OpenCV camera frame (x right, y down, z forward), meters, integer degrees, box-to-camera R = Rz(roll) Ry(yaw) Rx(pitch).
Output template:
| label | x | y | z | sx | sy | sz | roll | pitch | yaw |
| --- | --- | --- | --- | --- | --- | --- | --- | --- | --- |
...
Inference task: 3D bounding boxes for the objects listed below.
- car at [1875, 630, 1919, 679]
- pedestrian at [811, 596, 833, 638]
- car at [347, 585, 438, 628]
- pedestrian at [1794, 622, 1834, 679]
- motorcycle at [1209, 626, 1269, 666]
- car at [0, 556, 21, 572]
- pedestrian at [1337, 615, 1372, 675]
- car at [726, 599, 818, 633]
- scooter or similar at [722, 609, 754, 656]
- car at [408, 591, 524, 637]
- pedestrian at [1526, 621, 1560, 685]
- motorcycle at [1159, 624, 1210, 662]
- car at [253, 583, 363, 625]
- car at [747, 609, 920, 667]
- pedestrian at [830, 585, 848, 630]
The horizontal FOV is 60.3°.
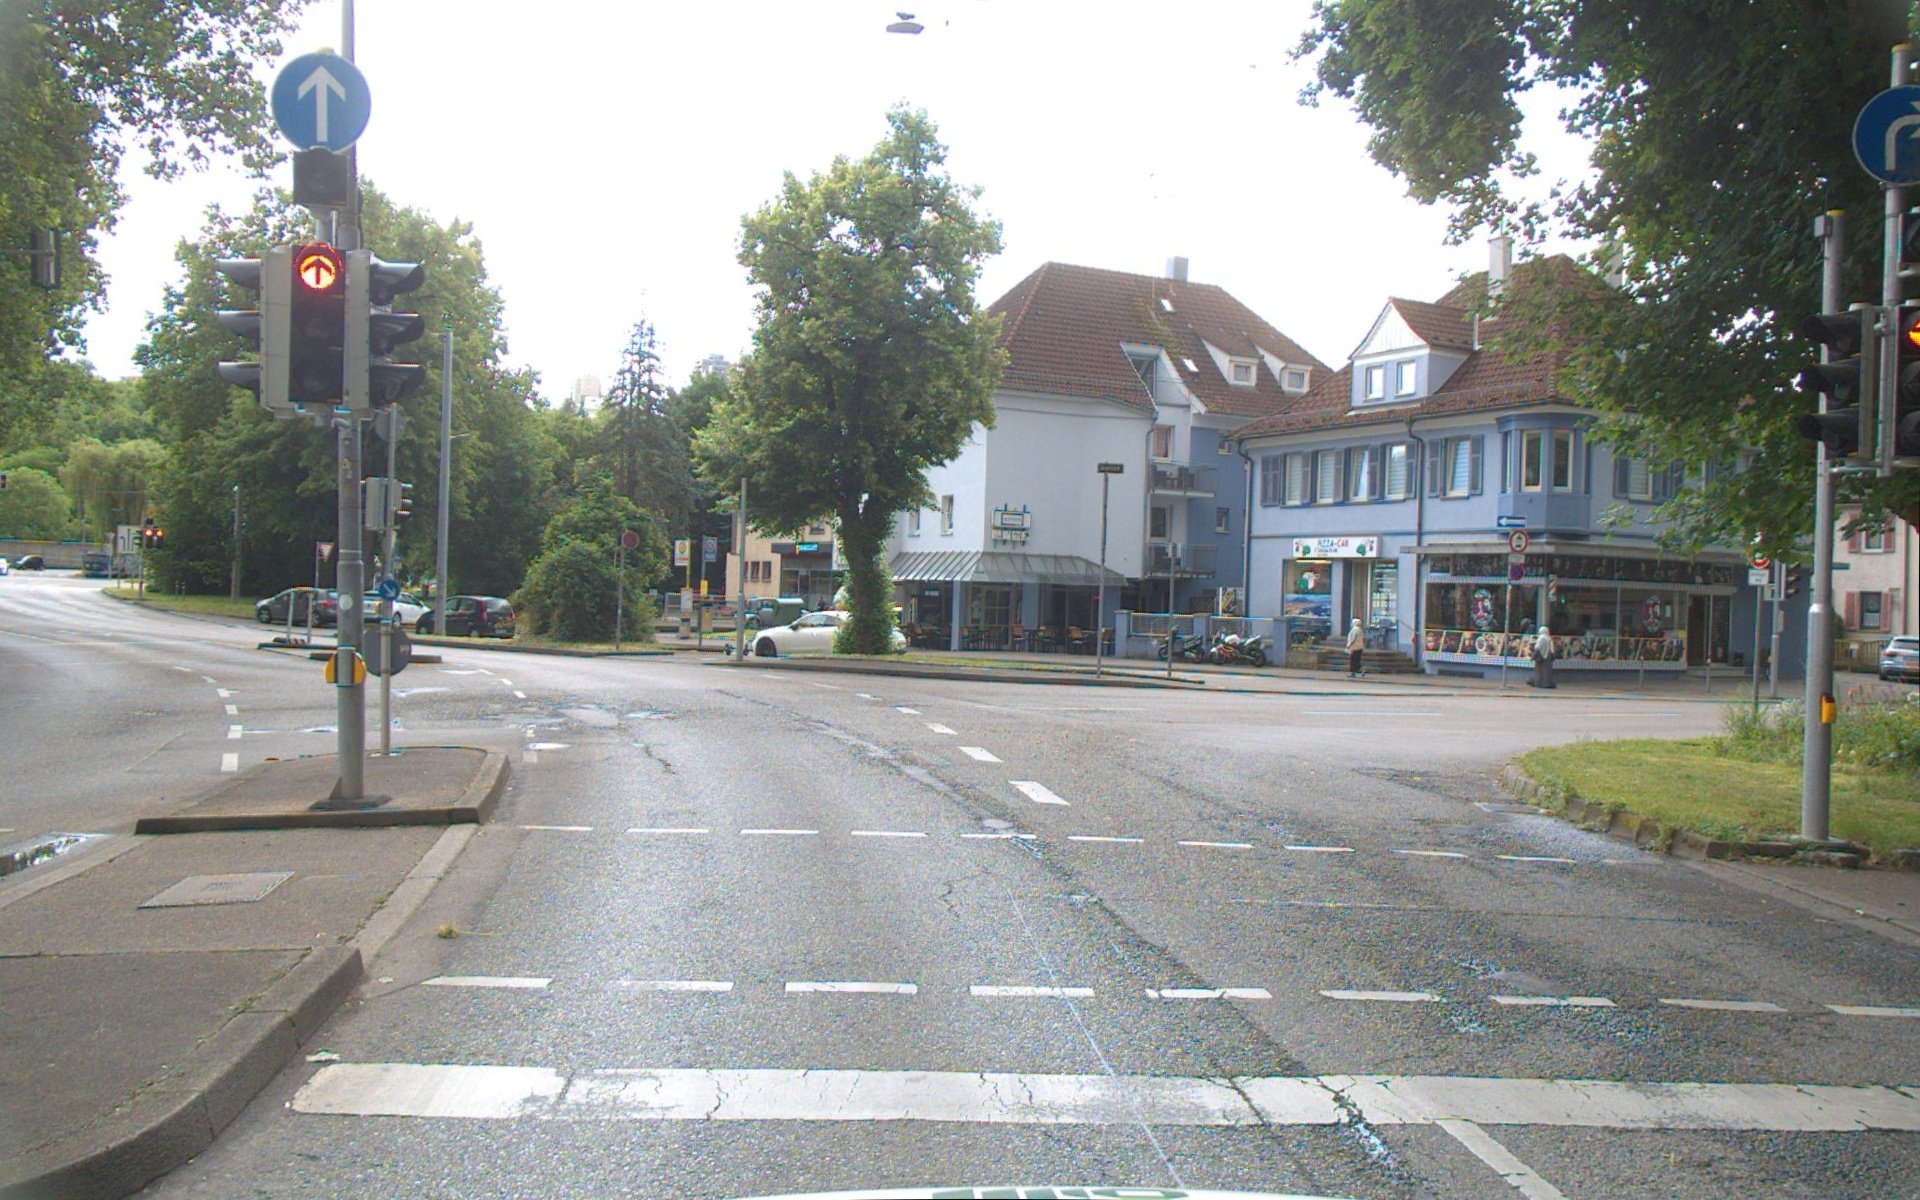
| label | x | y | z | sx | sy | sz | roll | pitch | yaw |
| --- | --- | --- | --- | --- | --- | --- | --- | --- | --- |
| car | 29.700 | 1.691 | 51.691 | 1.849 | 1.415 | 3.608 | 1 | 0 | 28 |
| pedestrian | -6.730 | 0.827 | 80.589 | 0.823 | 2.049 | 1.052 | 1 | 0 | -15 |
| car | -22.730 | 0.258 | 66.409 | 1.821 | 1.668 | 3.757 | 1 | 0 | 10 |
| pedestrian | 23.971 | 1.410 | 46.415 | 0.659 | 1.587 | 0.743 | 1 | -1 | -15 |
| motorcycle | 8.169 | 1.340 | 48.463 | 1.595 | 1.107 | 0.625 | 1 | 0 | 32 |
| car | -88.676 | -3.325 | 153.725 | 2.970 | 1.442 | 1.492 | 0 | -2 | 40 |
| pedestrian | 10.636 | 1.205 | 44.588 | 0.717 | 1.587 | 0.767 | 0 | -1 | 30 |
| car | -8.578 | 0.734 | 75.483 | 3.880 | 1.467 | 1.742 | 1 | 0 | -21 |
| scooter or similar | -5.700 | 0.829 | 42.512 | 0.433 | 1.195 | 1.439 | 1 | 0 | 8 |
| car | -15.912 | 0.447 | 53.267 | 3.252 | 1.376 | 1.778 | 1 | 0 | 27 |
| pedestrian | 14.715 | 1.324 | 41.724 | 0.681 | 1.587 | 0.665 | 0 | -1 | 30 |
| motorcycle | 6.816 | 1.289 | 50.213 | 1.430 | 1.107 | 0.522 | 1 | 0 | 35 |
| car | -25.005 | 0.152 | 63.426 | 3.695 | 1.491 | 1.622 | 1 | 0 | 18 |
| car | -3.531 | 1.022 | 45.686 | 4.618 | 1.435 | 1.896 | 1 | 0 | 35 |
| pedestrian | -4.321 | 0.271 | 59.167 | 0.531 | 1.587 | 0.468 | 0 | -1 | 13 |
